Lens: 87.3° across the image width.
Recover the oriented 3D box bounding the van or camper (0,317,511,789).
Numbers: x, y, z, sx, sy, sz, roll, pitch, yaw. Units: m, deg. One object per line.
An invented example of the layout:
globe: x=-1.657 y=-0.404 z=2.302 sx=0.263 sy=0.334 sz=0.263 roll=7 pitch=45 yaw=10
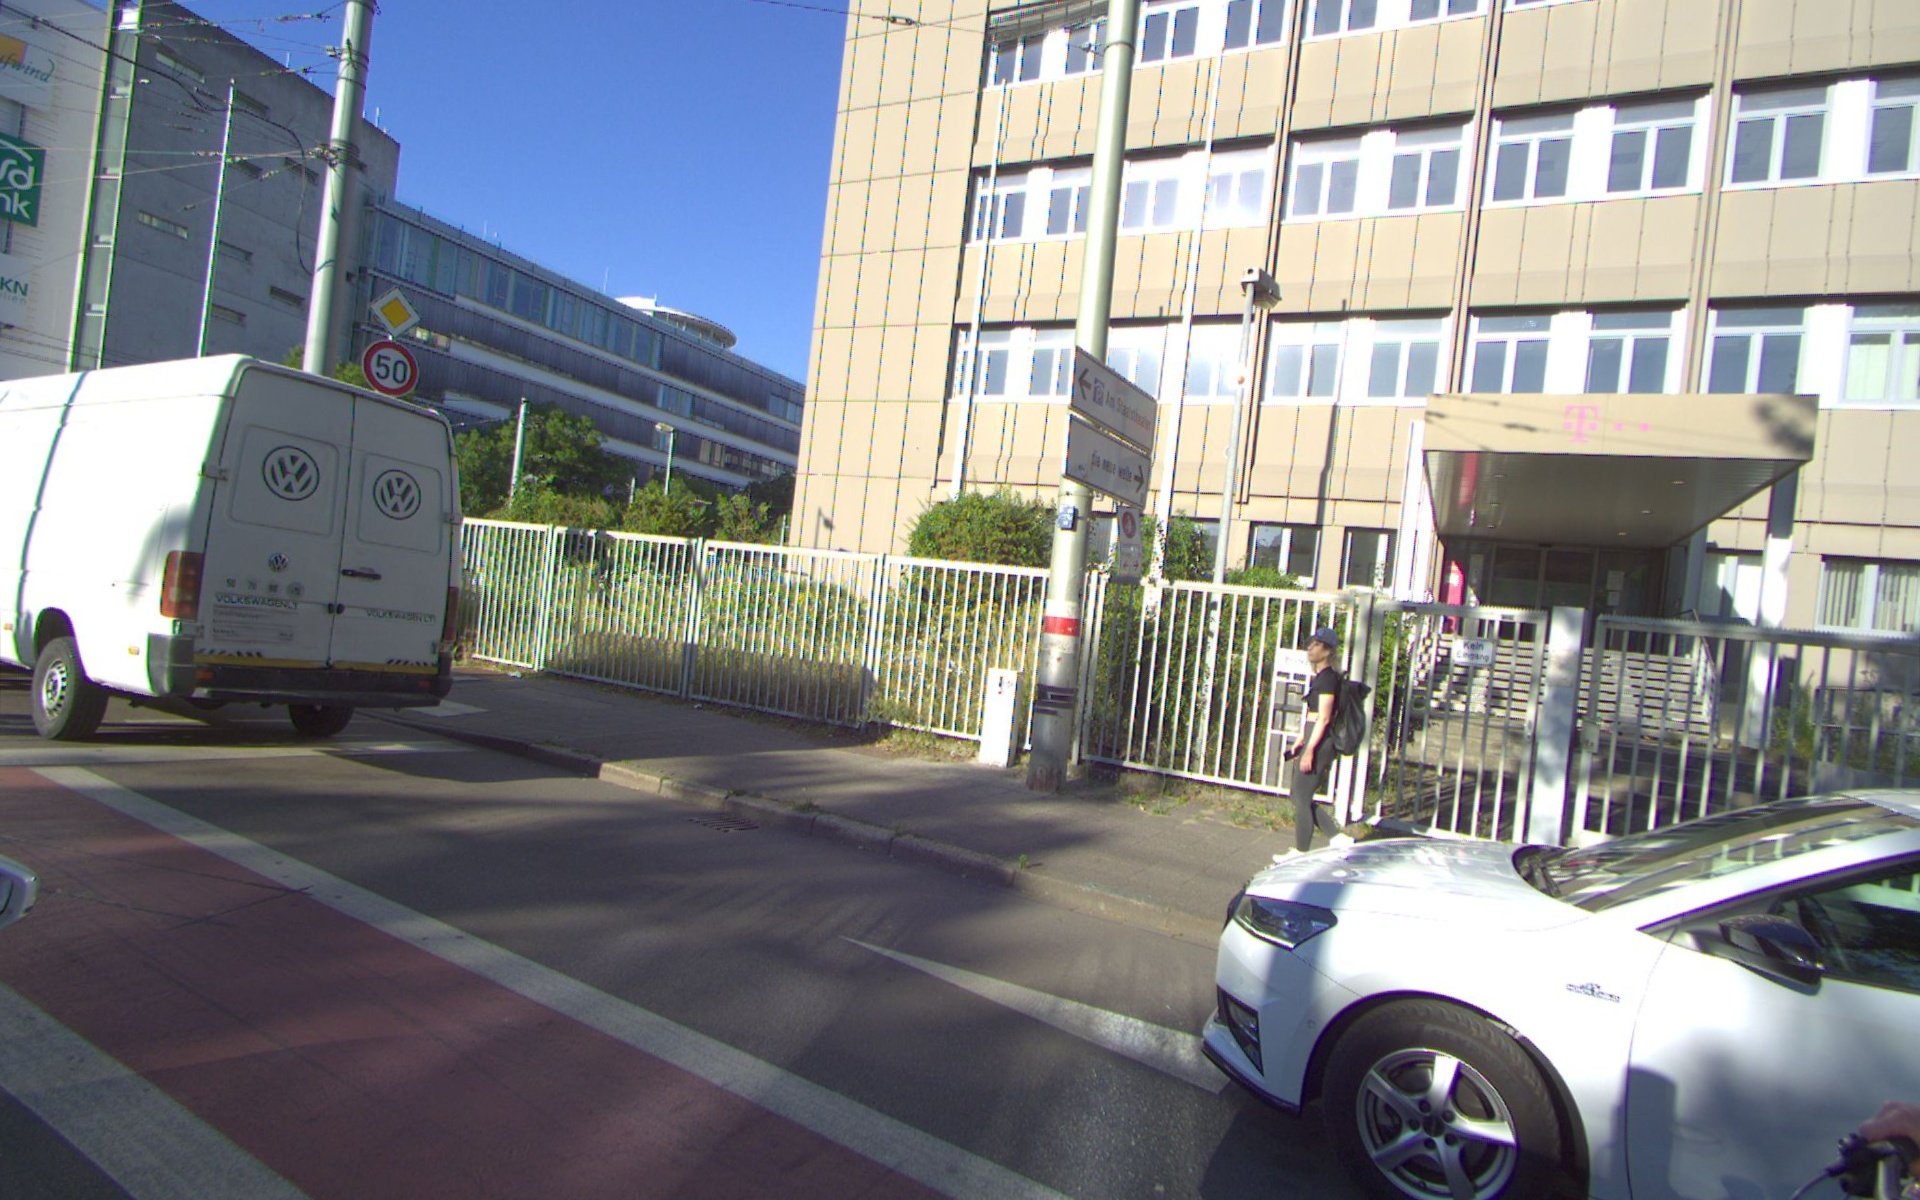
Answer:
van or camper: x=-6.681 y=-0.478 z=8.216 sx=6.197 sy=2.748 sz=1.973 roll=6 pitch=-1 yaw=30

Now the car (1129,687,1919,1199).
car: x=2.752 y=1.242 z=2.914 sx=4.007 sy=1.405 sz=1.704 roll=6 pitch=-2 yaw=31

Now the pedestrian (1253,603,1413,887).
pedestrian: x=2.587 y=0.963 z=6.972 sx=0.757 sy=1.784 sz=0.591 roll=7 pitch=0 yaw=32

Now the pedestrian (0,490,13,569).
pedestrian: x=-23.217 y=-1.728 z=23.845 sx=1.196 sy=1.846 sz=0.778 roll=7 pitch=0 yaw=34

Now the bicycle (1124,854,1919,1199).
bicycle: x=1.301 y=1.101 z=0.847 sx=2.269 sy=1.158 sz=0.763 roll=6 pitch=0 yaw=33

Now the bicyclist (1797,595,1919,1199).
bicyclist: x=1.329 y=0.740 z=0.861 sx=0.845 sy=1.438 sz=0.727 roll=6 pitch=-1 yaw=34
